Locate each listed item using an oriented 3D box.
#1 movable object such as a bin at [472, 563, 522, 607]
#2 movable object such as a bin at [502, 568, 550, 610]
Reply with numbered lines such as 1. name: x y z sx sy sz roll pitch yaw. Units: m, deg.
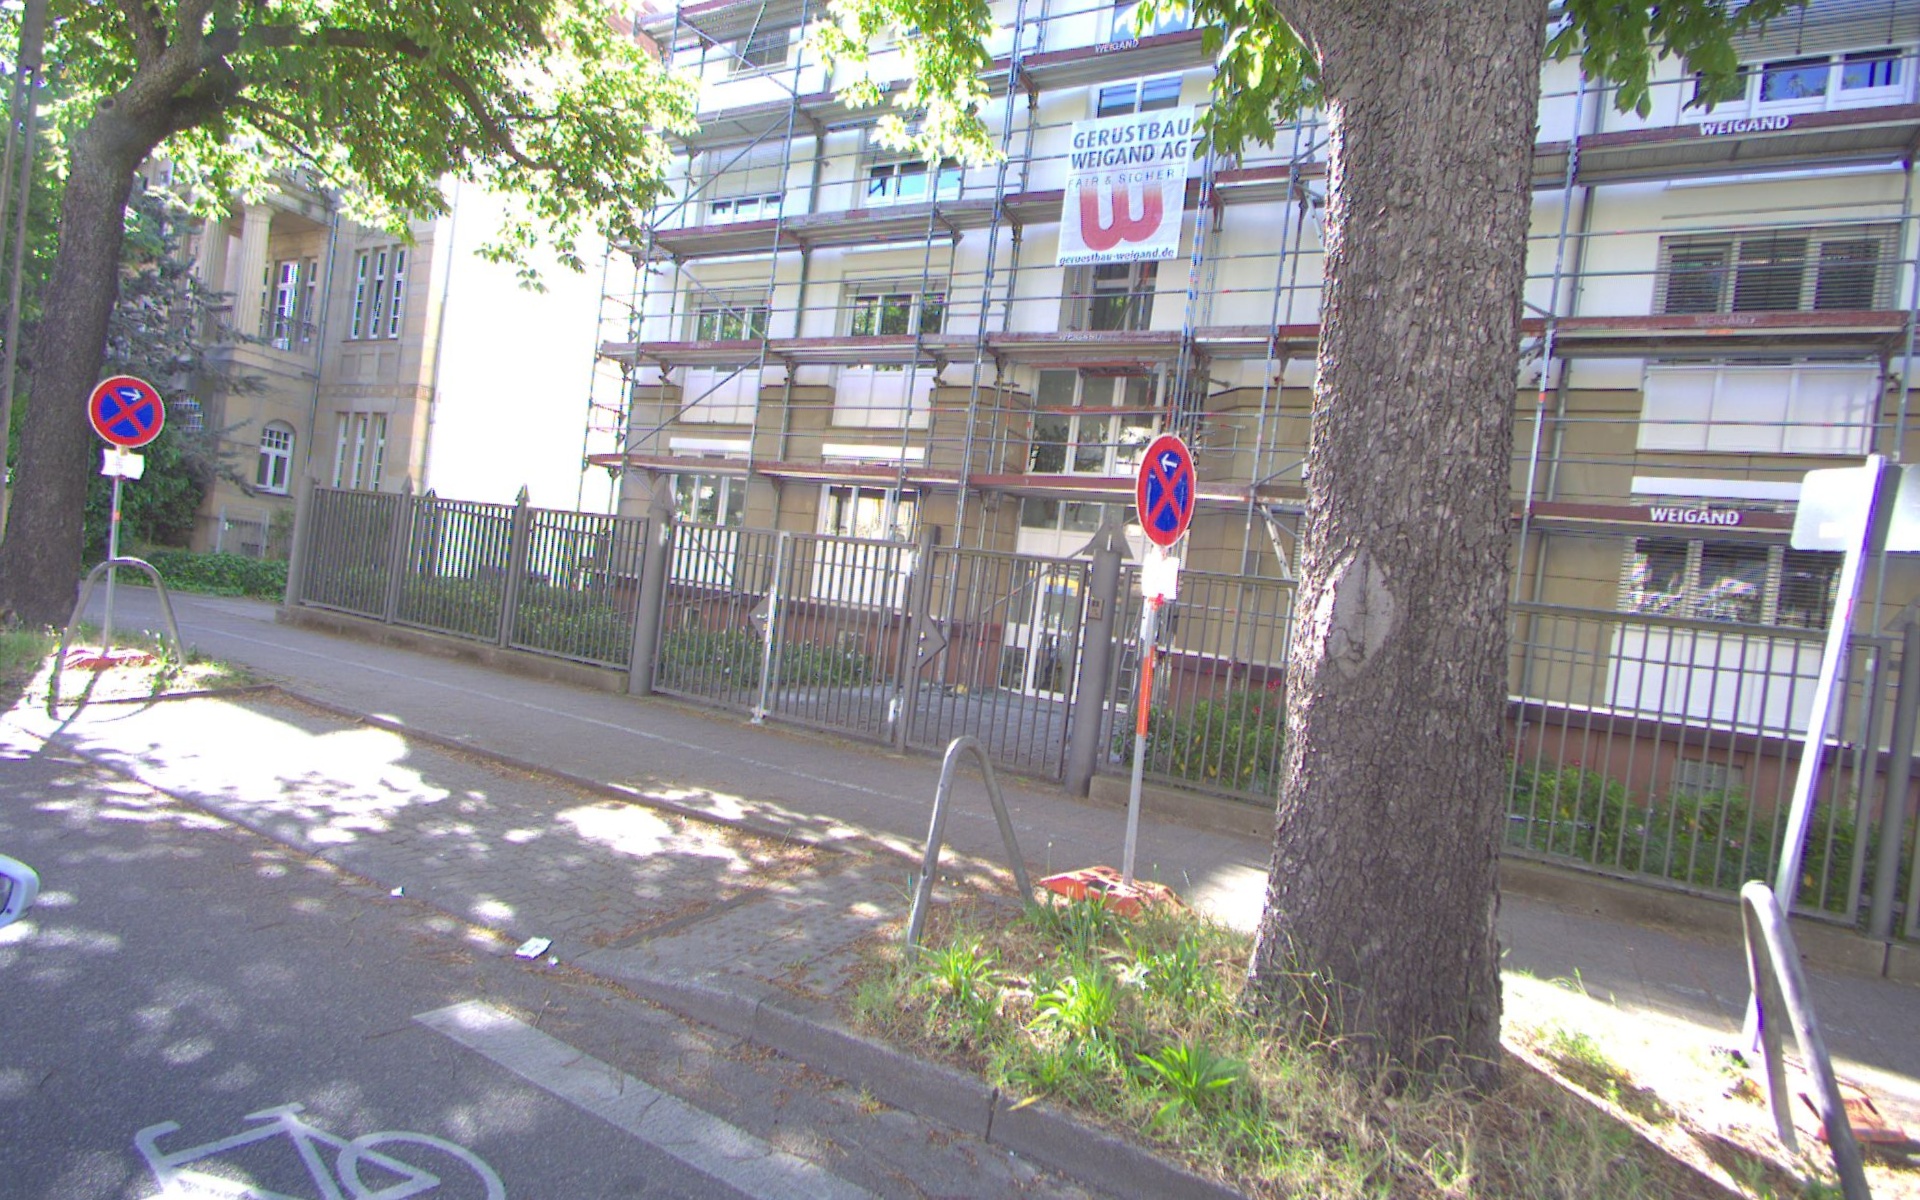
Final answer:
1. movable object such as a bin: -11.718 -0.371 25.447 0.637 0.966 0.835 6 -2 30
2. movable object such as a bin: -11.297 -0.285 26.204 0.637 0.966 0.835 6 -2 30
